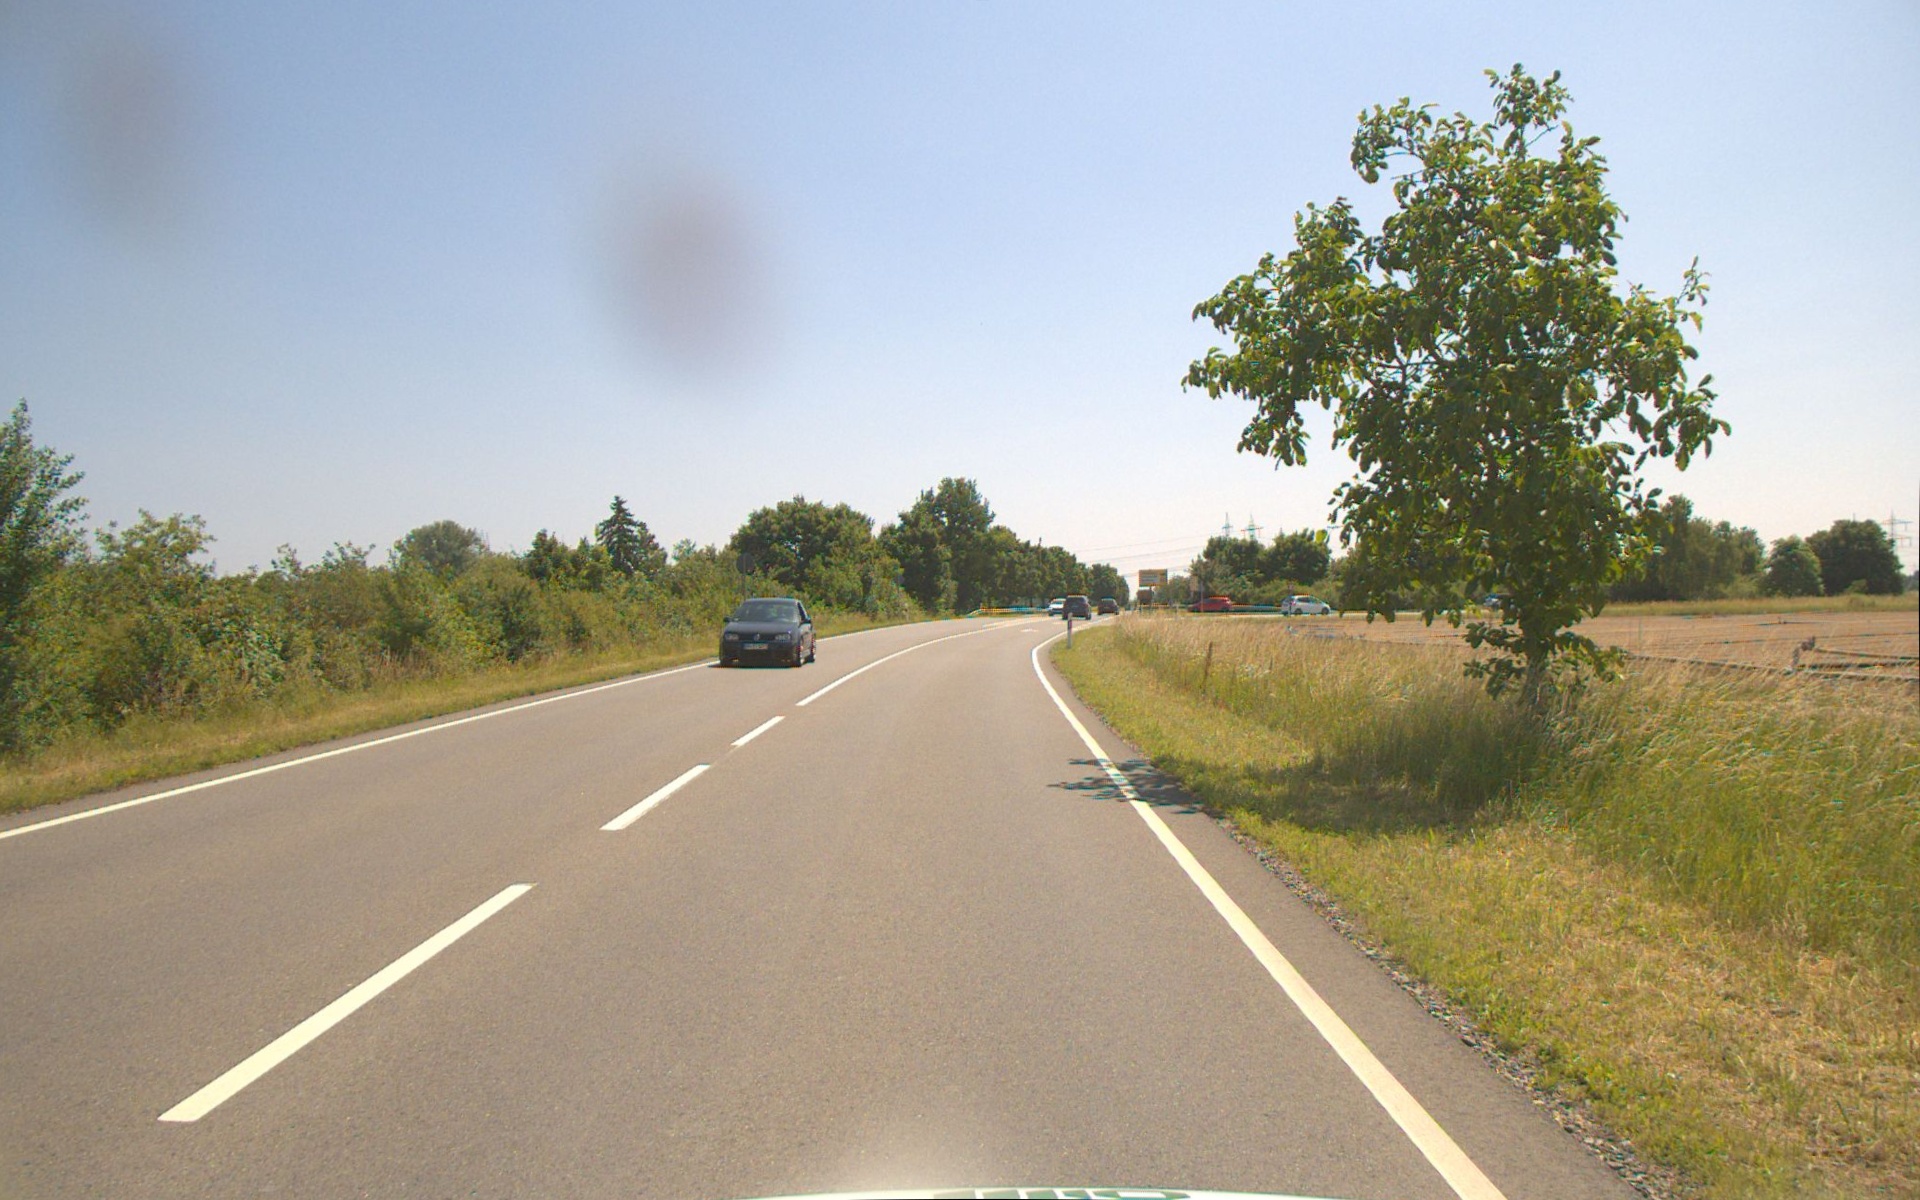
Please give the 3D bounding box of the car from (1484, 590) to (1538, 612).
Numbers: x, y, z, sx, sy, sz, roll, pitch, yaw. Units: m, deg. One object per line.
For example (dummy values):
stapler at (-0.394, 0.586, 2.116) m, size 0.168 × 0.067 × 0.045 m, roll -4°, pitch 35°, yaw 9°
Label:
car at (44.127, 0.053, 132.445) m, size 3.902 × 1.652 × 1.646 m, roll -1°, pitch 0°, yaw 12°

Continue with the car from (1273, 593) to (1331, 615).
car at (27.143, 0.290, 131.220) m, size 4.079 × 1.652 × 2.053 m, roll -1°, pitch 0°, yaw -27°

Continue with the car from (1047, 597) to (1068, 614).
car at (8.744, 0.516, 147.696) m, size 1.797 × 1.443 × 4.718 m, roll 1°, pitch 0°, yaw 4°

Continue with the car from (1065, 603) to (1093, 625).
car at (8.451, 0.973, 117.011) m, size 1.845 × 1.544 × 4.042 m, roll 1°, pitch 0°, yaw 6°

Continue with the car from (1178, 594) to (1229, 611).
car at (21.286, 0.242, 144.688) m, size 4.067 × 1.443 × 1.779 m, roll -1°, pitch -1°, yaw 22°

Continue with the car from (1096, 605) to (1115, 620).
car at (13.401, 1.146, 152.420) m, size 1.609 × 1.364 × 4.042 m, roll 1°, pitch 0°, yaw 6°

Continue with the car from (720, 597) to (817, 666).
car at (-4.082, 0.650, 35.770) m, size 1.658 × 1.386 × 3.825 m, roll 1°, pitch 0°, yaw -1°
